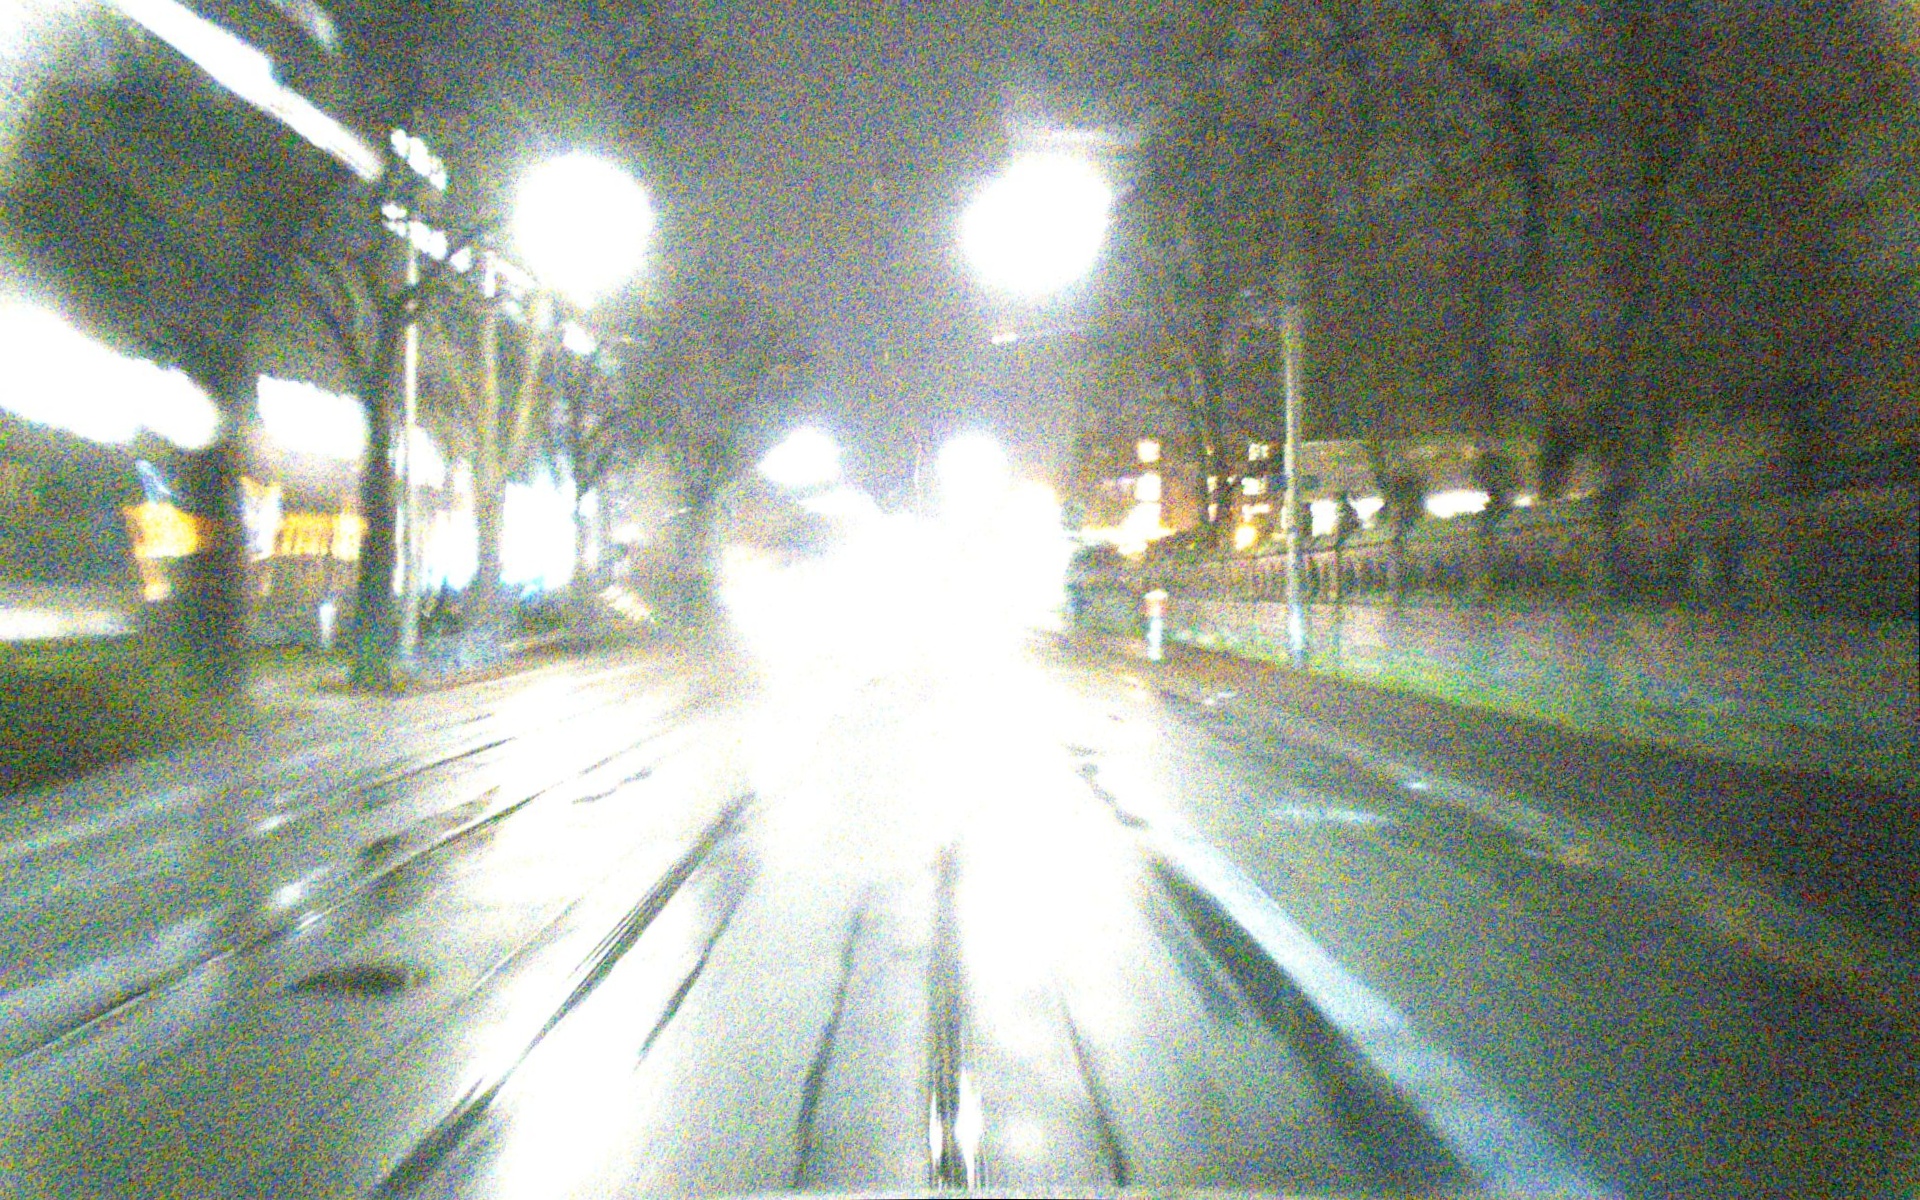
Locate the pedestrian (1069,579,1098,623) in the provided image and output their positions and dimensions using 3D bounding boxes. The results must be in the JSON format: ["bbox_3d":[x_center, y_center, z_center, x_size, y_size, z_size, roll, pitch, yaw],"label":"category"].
[{"bbox_3d":[4.851,0.054,65.094,0.921,1.693,0.993,-2,0,-5],"label":"pedestrian"}]

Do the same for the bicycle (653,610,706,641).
[{"bbox_3d":[-10.281,0.936,60.573,1.816,1.096,0.627,0,-1,-1],"label":"bicycle"}]

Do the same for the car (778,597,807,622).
[{"bbox_3d":[-13.994,0.768,138.264,1.953,2.049,4.000,0,0,0],"label":"car"}]

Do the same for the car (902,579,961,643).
[{"bbox_3d":[-1.135,0.419,64.583,2.199,2.402,4.392,0,0,-2],"label":"car"}]

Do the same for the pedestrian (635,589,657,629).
[{"bbox_3d":[-13.691,0.398,72.072,0.770,1.716,0.882,0,-1,-1],"label":"pedestrian"}]

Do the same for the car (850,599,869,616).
[{"bbox_3d":[-10.371,0.797,170.636,1.954,1.755,4.072,0,0,-4],"label":"car"}]
